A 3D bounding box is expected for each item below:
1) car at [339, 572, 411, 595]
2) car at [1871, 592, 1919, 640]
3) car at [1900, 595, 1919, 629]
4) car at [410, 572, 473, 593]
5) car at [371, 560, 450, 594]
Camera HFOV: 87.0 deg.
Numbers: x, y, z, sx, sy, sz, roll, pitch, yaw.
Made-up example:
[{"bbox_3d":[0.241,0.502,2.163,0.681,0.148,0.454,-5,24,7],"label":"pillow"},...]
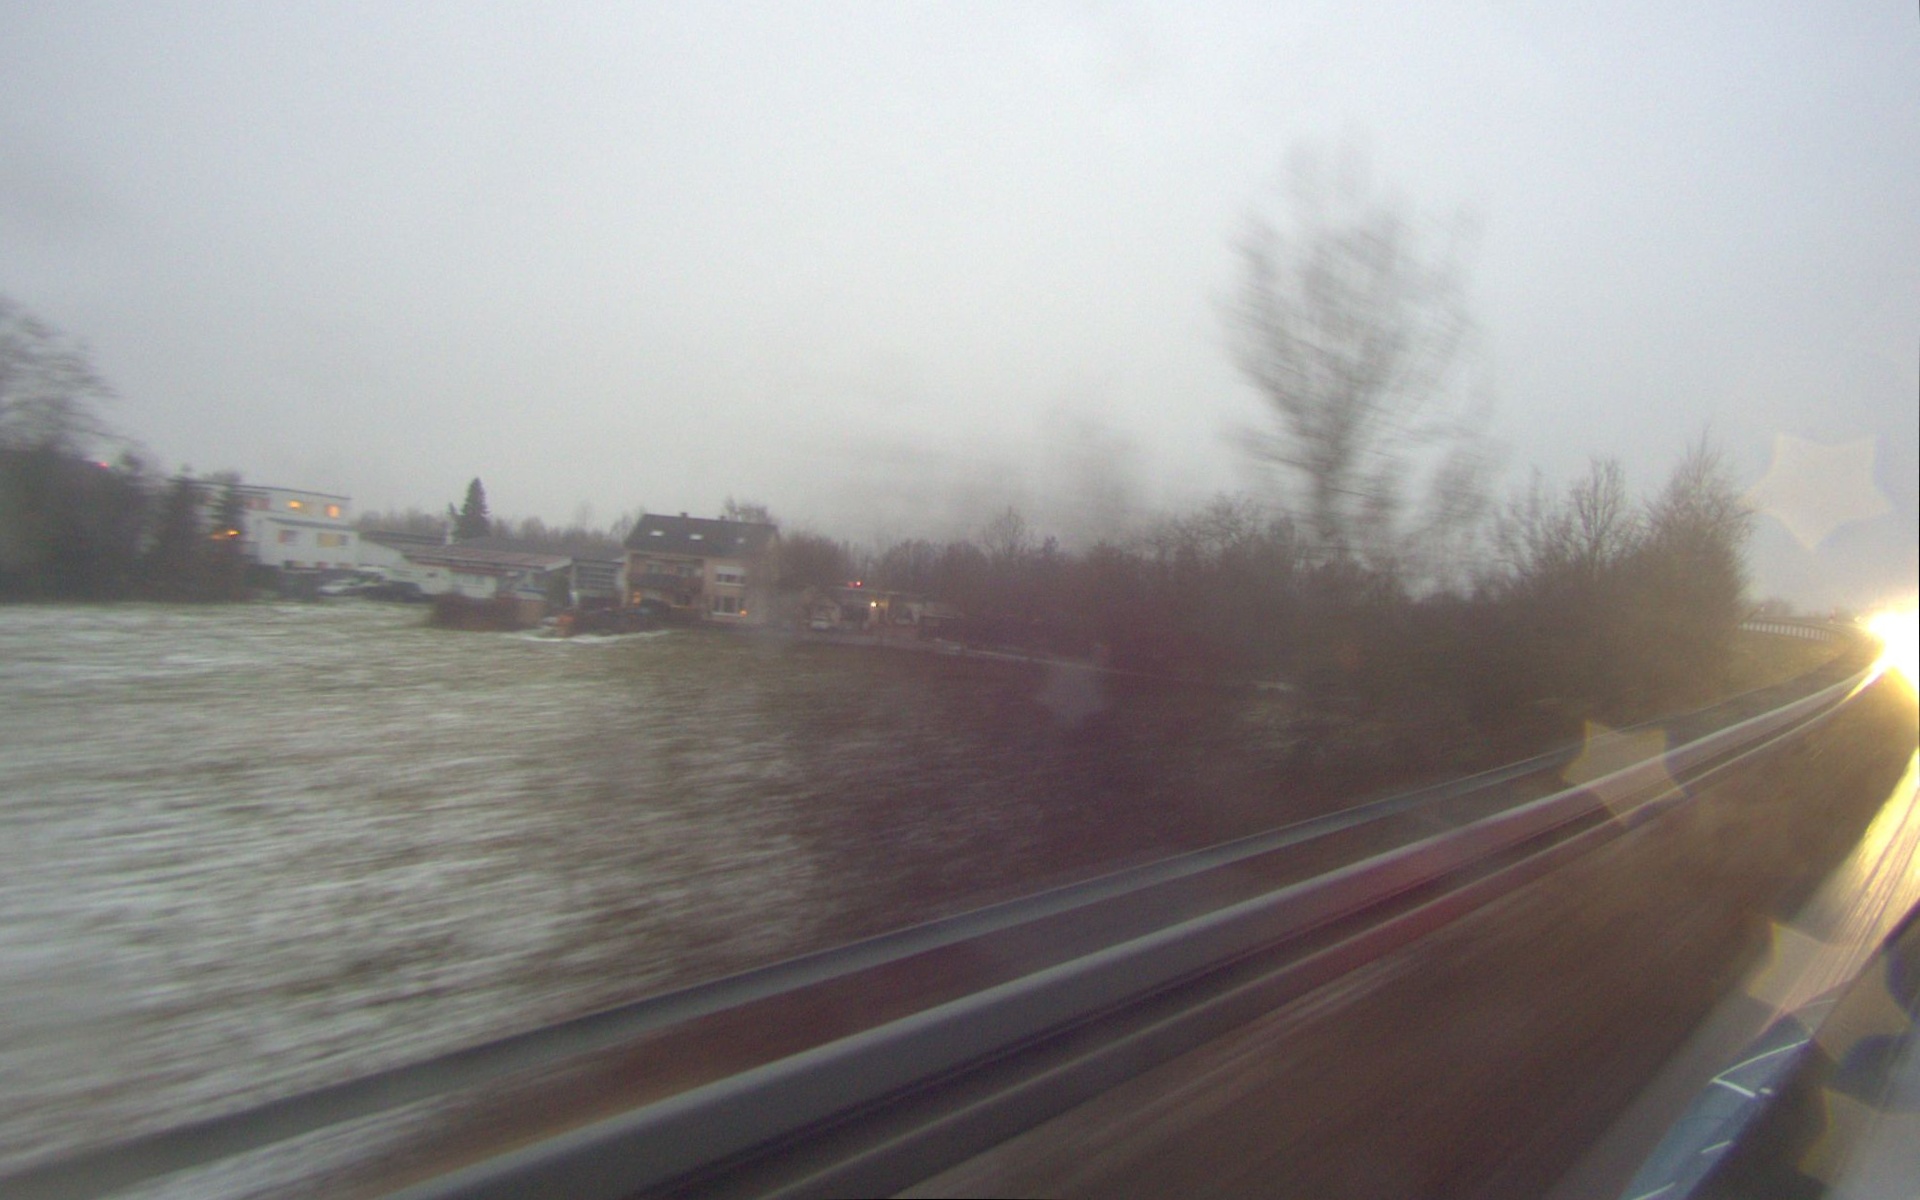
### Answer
[{"bbox_3d":[-51.505,-1.469,89.230,5.024,1.841,2.294,2,1,0],"label":"car"},{"bbox_3d":[36.608,0.674,38.792,2.094,1.595,4.731,4,0,38],"label":"car"},{"bbox_3d":[48.691,0.628,50.737,2.008,1.655,4.802,2,1,40],"label":"car"},{"bbox_3d":[-50.612,-1.724,98.847,5.024,1.841,2.294,2,1,0],"label":"car"},{"bbox_3d":[-50.643,-2.125,93.393,5.999,2.876,2.294,2,1,0],"label":"car"}]
